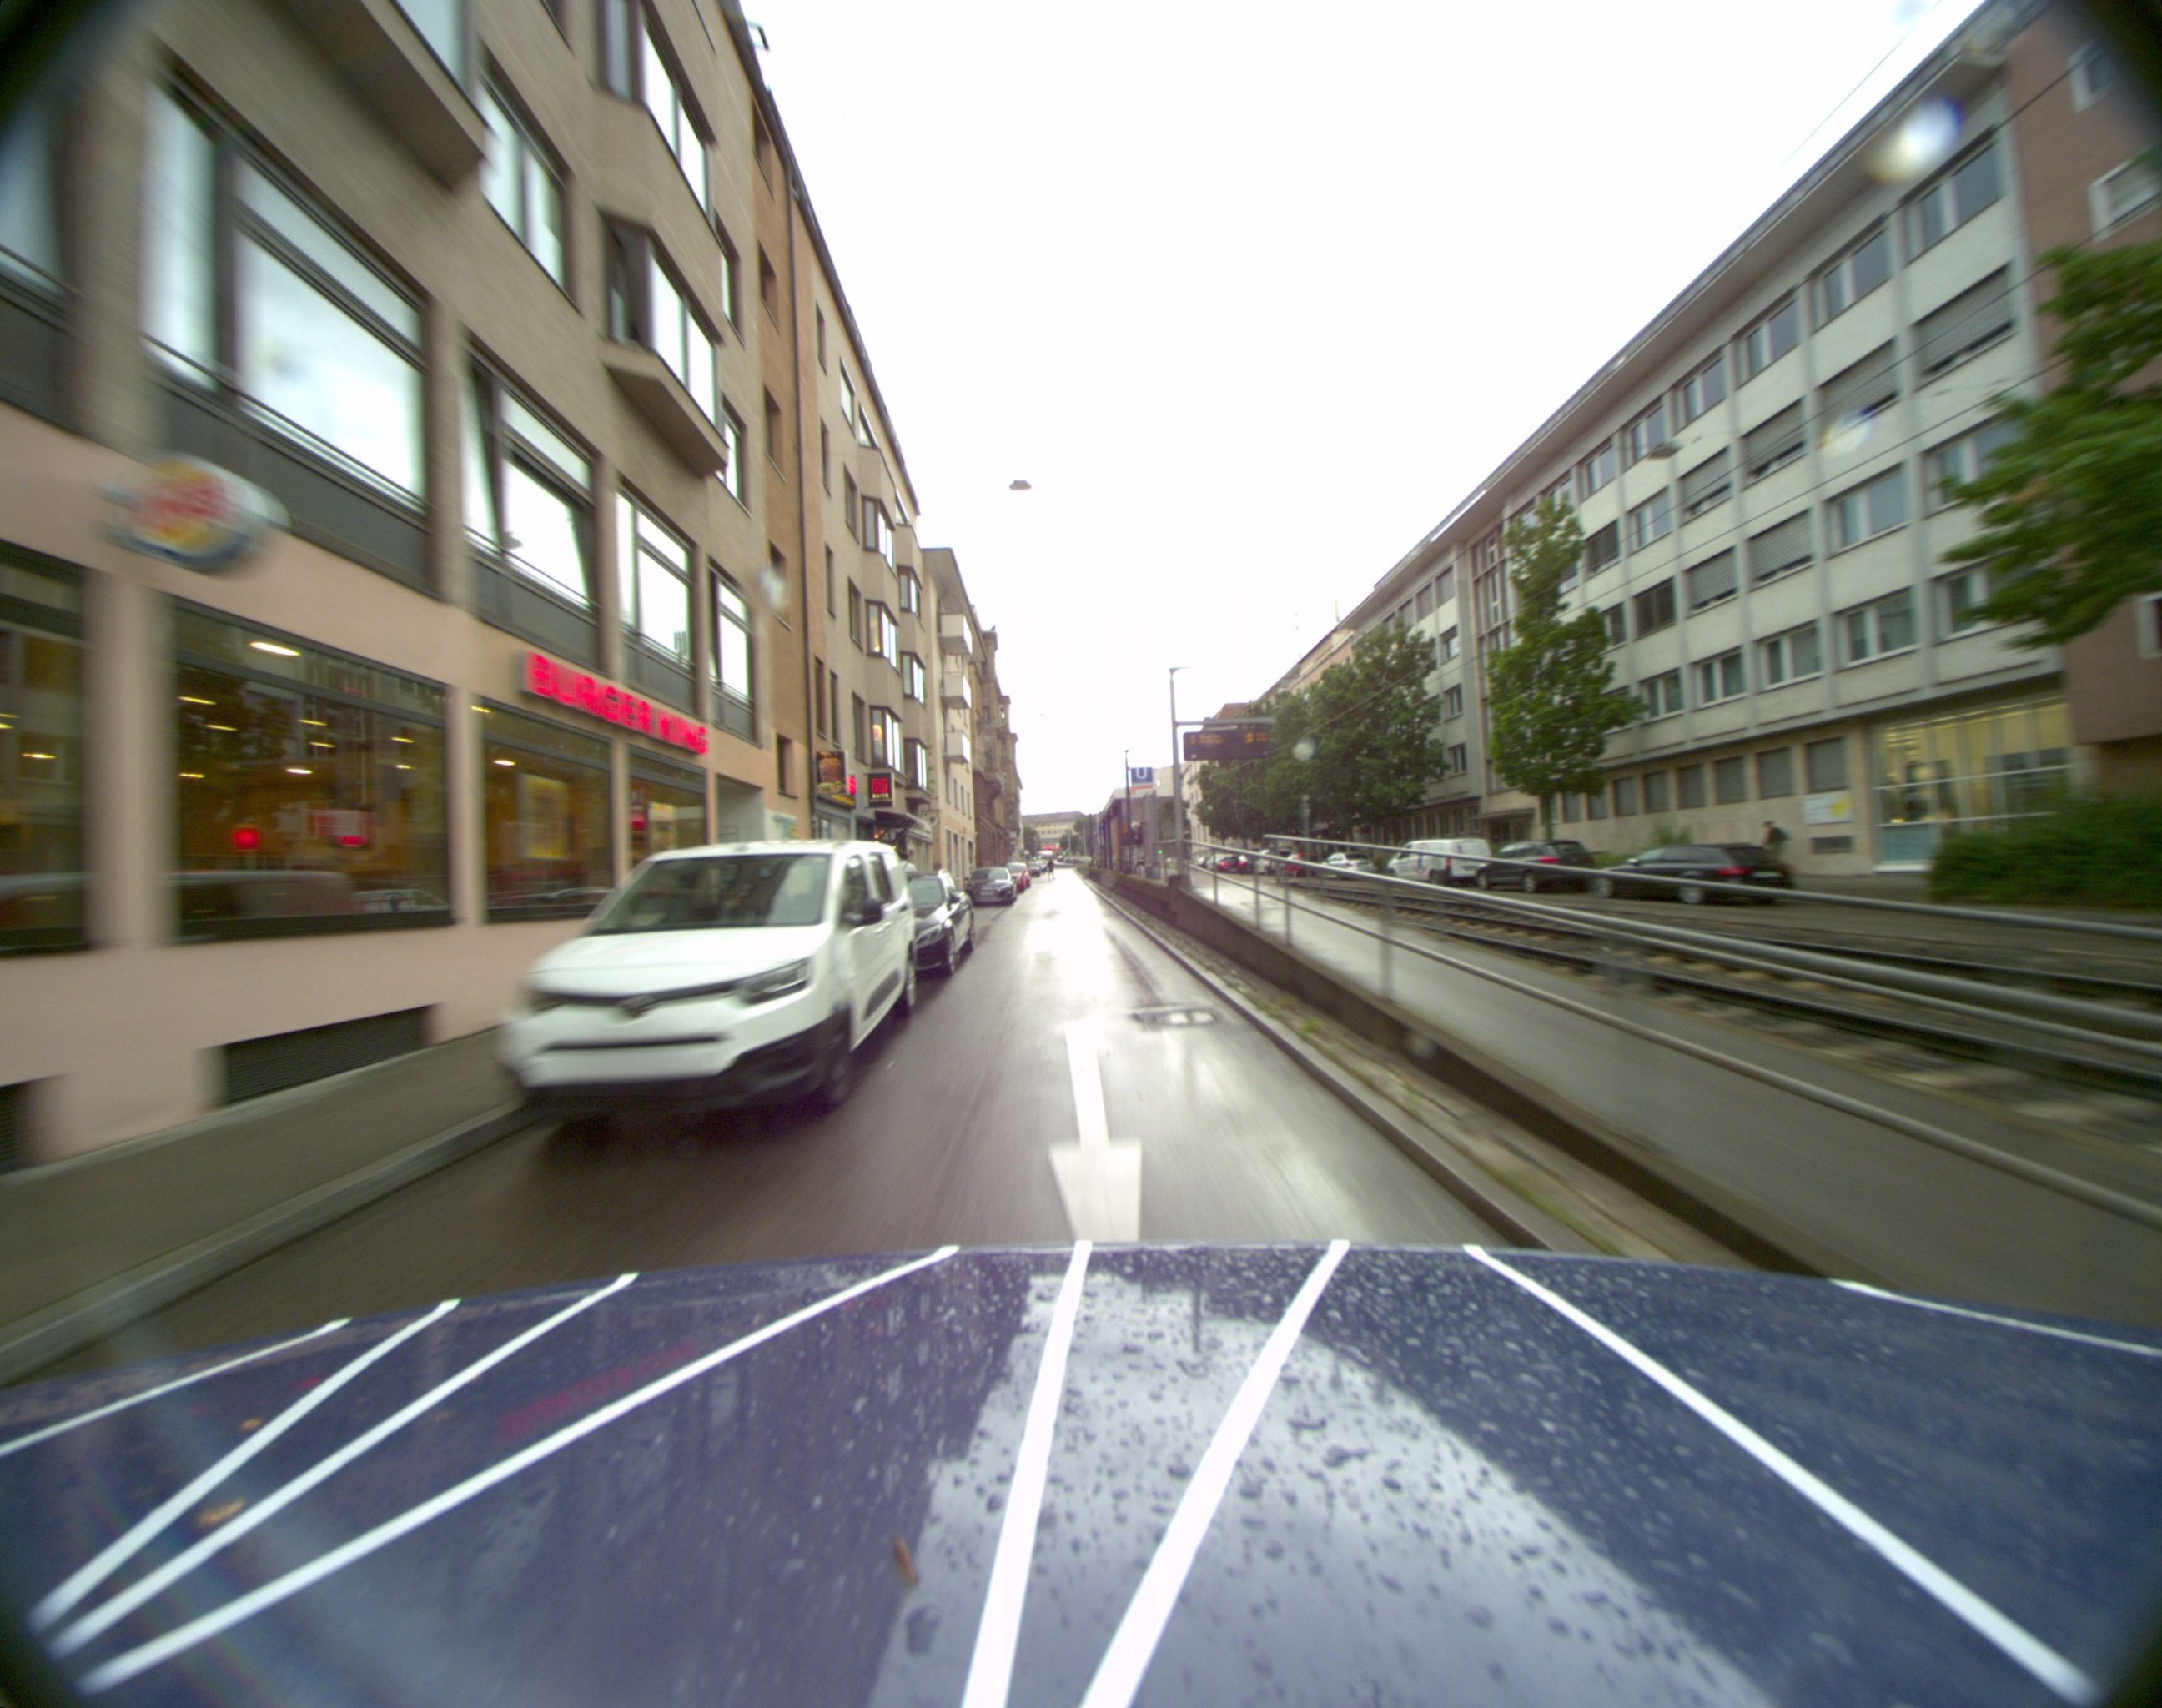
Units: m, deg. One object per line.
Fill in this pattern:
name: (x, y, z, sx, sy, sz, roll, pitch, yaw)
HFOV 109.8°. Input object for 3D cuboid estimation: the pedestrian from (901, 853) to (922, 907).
pedestrian: (-5.394, 0.813, 24.217, 0.546, 1.671, 0.595, -2, 1, -9)

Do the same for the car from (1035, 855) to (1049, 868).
car: (-4.667, 0.859, 89.966, 1.588, 1.343, 3.976, -2, 0, -3)

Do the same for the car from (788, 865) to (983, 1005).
car: (-2.764, 1.061, 11.878, 1.911, 1.606, 4.412, -2, 0, -1)

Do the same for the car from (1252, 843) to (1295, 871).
car: (13.485, 0.198, 53.563, 1.678, 1.806, 4.431, -2, 0, -3)

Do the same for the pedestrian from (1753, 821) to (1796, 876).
pedestrian: (19.892, -0.161, 21.801, 0.701, 1.548, 0.585, -2, 1, -8)

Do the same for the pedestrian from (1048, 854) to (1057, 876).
pedestrian: (-2.329, 0.888, 62.462, 0.653, 1.752, 0.882, -2, 1, -5)

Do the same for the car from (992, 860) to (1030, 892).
car: (-3.555, 1.102, 39.187, 1.650, 1.454, 3.413, -2, 0, -1)

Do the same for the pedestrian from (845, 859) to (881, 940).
pedestrian: (-4.707, 0.962, 16.429, 0.577, 1.704, 0.477, -2, 1, 0)

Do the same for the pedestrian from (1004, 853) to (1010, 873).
pedestrian: (-6.136, 0.752, 63.025, 0.489, 1.635, 0.630, -2, 1, -5)

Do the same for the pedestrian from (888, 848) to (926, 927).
pedestrian: (-4.166, 0.797, 18.260, 0.697, 1.844, 0.652, -2, 1, 0)

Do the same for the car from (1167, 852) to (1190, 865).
car: (10.192, 0.463, 79.702, 1.643, 1.330, 3.733, -3, 0, -4)

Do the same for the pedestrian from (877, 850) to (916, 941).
pedestrian: (-4.034, 0.889, 16.630, 0.653, 1.937, 0.533, -2, 1, 0)

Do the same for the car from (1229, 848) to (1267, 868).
car: (13.015, 0.319, 59.525, 1.643, 1.432, 4.728, -2, 0, -3)

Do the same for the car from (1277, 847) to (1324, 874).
car: (13.773, 0.382, 47.815, 1.643, 1.530, 3.802, -2, 0, -3)

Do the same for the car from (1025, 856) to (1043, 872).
car: (-4.488, 0.948, 72.739, 1.628, 1.343, 3.828, -2, 0, -3)

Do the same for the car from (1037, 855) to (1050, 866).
car: (-5.142, 0.889, 104.764, 1.588, 1.442, 3.977, -2, 0, -2)

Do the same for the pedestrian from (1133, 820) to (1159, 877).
pedestrian: (1.842, -0.160, 21.708, 0.585, 1.600, 0.700, -2, 1, -4)

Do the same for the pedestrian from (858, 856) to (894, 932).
pedestrian: (-4.737, 0.909, 17.608, 0.612, 1.704, 0.581, -2, 1, 0)

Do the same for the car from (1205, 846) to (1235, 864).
car: (12.893, 0.083, 70.696, 1.662, 1.575, 4.337, -2, 0, -3)

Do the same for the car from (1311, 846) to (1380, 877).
car: (13.775, 0.377, 39.798, 1.697, 1.454, 4.528, -3, 0, -4)

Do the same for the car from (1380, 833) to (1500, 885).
car: (14.275, 0.178, 30.651, 1.913, 1.834, 5.255, -3, 0, -6)

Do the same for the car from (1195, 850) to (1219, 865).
car: (12.672, 0.354, 76.635, 1.718, 1.367, 4.456, -2, 0, 0)

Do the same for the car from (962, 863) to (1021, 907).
car: (-3.410, 1.140, 29.632, 1.912, 1.454, 4.244, -2, 0, -2)

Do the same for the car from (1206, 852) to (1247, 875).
car: (10.400, 0.648, 54.711, 1.697, 1.454, 4.528, -3, 0, -4)

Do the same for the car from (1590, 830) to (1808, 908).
car: (14.723, 0.314, 18.485, 1.643, 1.614, 4.370, -2, 0, -1)

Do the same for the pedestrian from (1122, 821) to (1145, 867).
pedestrian: (1.927, -0.371, 28.198, 0.713, 1.684, 0.700, -2, 1, -4)

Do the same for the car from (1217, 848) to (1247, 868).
car: (12.797, 0.325, 64.560, 1.643, 1.529, 4.021, -2, 0, -1)

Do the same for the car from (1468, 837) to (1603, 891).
car: (14.494, 0.286, 24.548, 1.643, 1.527, 4.370, -2, 0, -1)

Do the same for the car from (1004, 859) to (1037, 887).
car: (-3.561, 1.092, 45.329, 1.721, 1.454, 3.444, -2, 0, -1)

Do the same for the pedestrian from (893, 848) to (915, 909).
pedestrian: (-5.461, 0.758, 23.464, 0.530, 1.848, 0.556, -2, 1, -9)

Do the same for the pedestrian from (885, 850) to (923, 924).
pedestrian: (-4.434, 0.820, 19.058, 0.758, 1.809, 0.588, -2, 1, 0)

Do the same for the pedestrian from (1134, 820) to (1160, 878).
pedestrian: (1.814, -0.132, 20.998, 0.585, 1.548, 0.700, -2, 1, -4)

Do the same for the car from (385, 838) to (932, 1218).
car: (-2.548, 0.847, 6.174, 1.912, 1.796, 4.775, -3, 0, -3)
